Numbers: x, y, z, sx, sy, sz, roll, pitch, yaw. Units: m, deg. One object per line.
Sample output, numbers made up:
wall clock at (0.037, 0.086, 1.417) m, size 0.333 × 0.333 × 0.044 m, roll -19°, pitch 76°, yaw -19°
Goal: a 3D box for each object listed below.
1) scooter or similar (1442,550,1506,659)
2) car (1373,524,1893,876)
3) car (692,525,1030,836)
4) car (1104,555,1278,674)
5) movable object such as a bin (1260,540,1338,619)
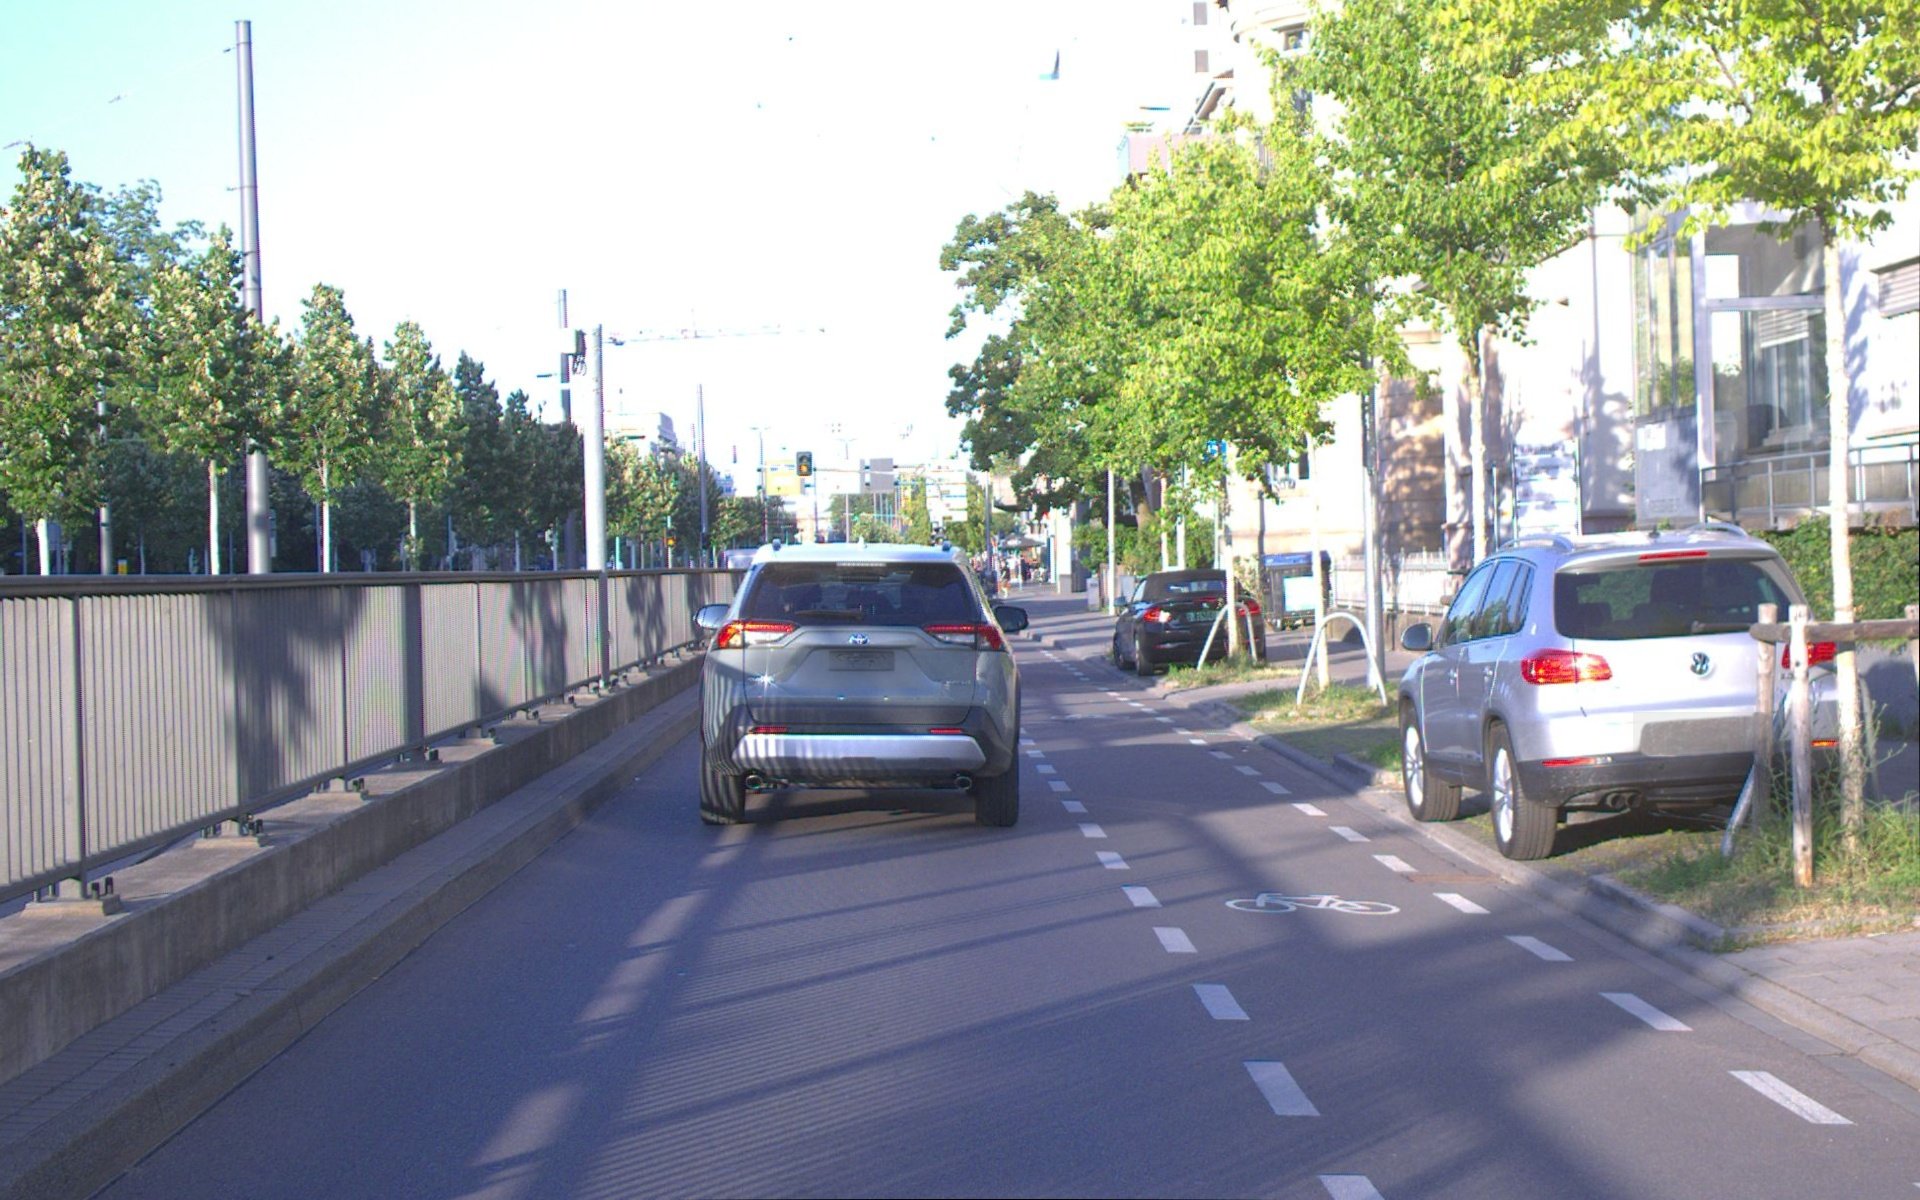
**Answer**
scooter or similar at (6.024, 0.052, 40.341) m, size 0.490 × 1.254 × 1.208 m, roll 0°, pitch 0°, yaw -4°
car at (3.594, 0.456, 19.166) m, size 1.854 × 1.701 × 4.255 m, roll -1°, pitch 1°, yaw -3°
car at (-0.646, 0.426, 21.157) m, size 1.857 × 1.708 × 4.193 m, roll 1°, pitch 1°, yaw -3°
car at (3.200, 0.159, 48.428) m, size 1.792 × 1.466 × 4.446 m, roll -4°, pitch 1°, yaw -4°
movable object such as a bin at (6.348, -0.391, 64.388) m, size 1.260 × 1.457 × 1.124 m, roll -1°, pitch 1°, yaw -4°
